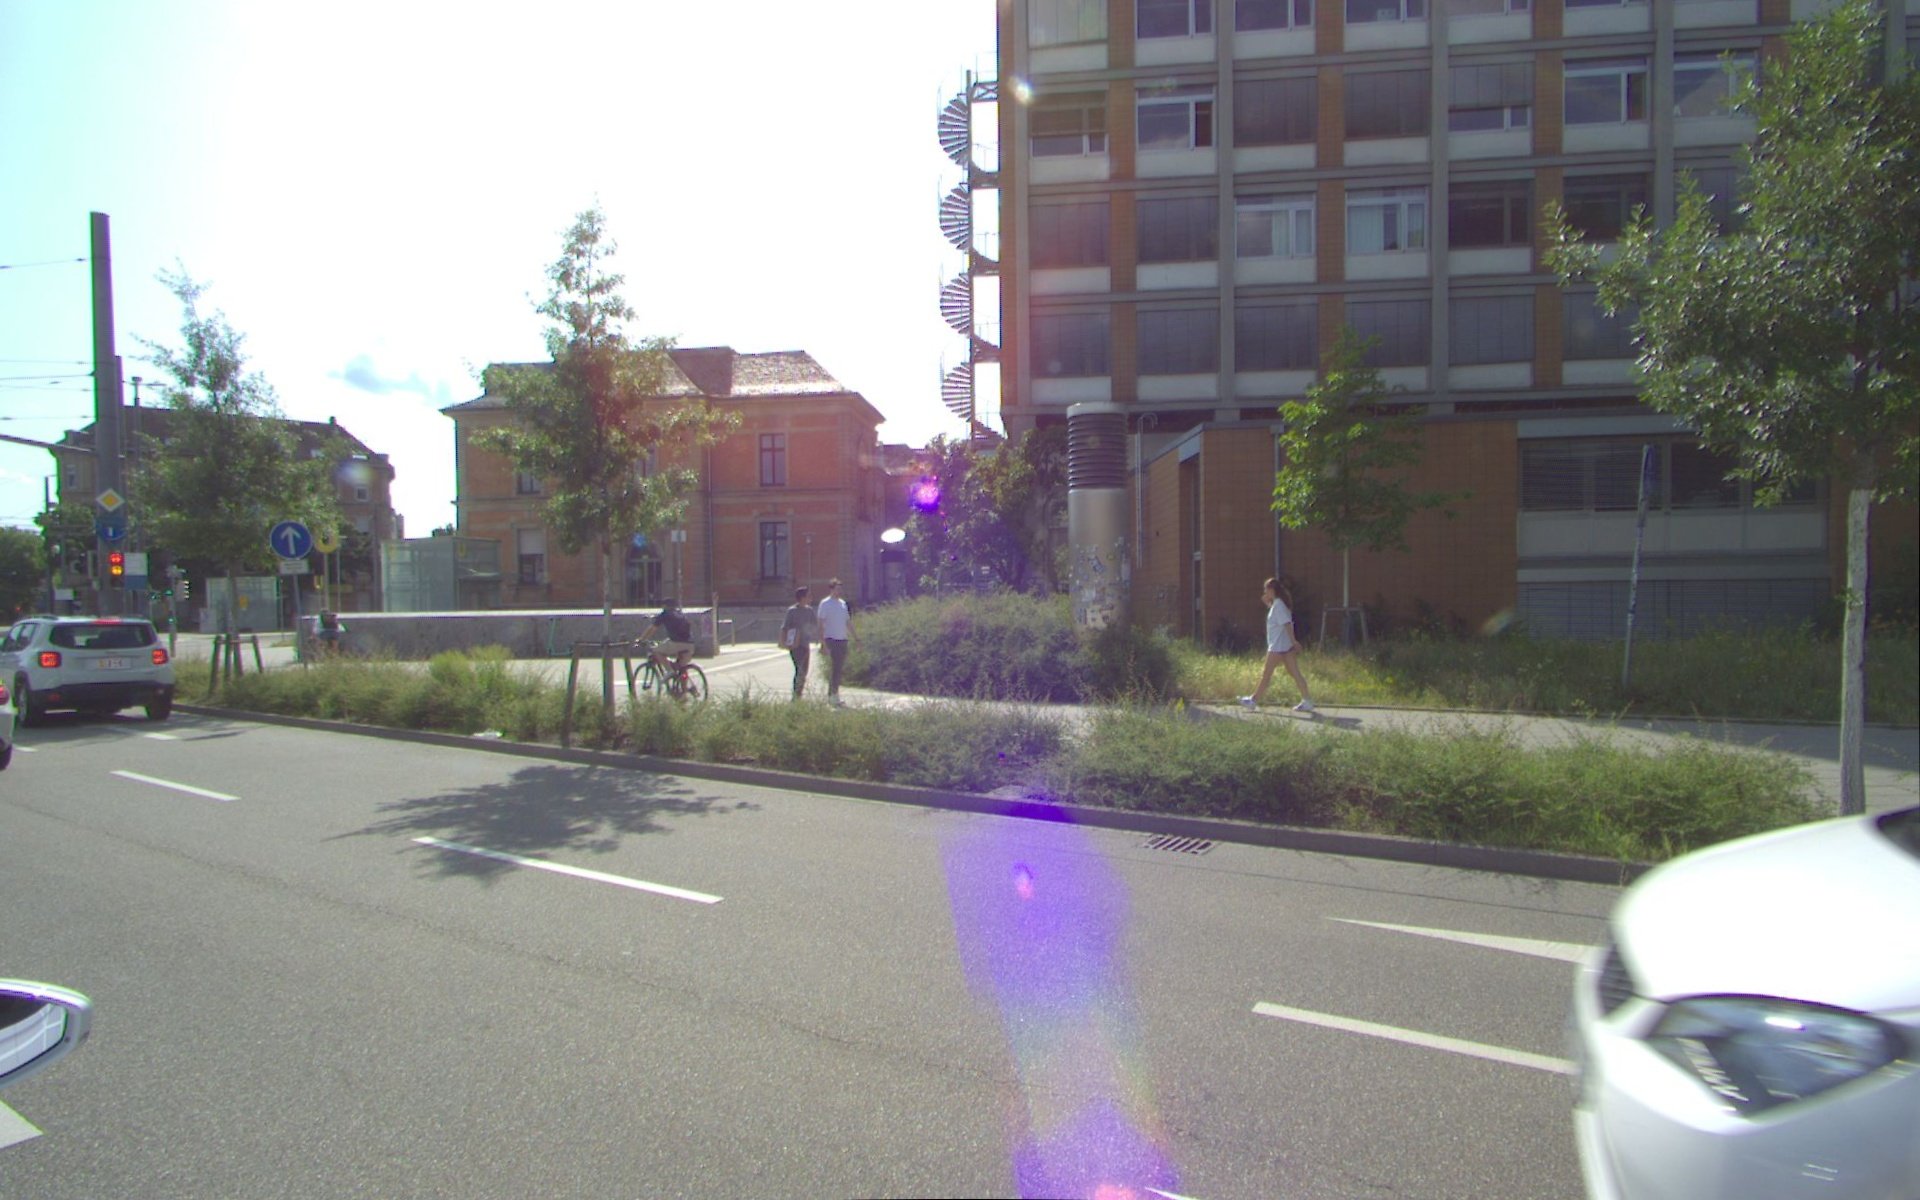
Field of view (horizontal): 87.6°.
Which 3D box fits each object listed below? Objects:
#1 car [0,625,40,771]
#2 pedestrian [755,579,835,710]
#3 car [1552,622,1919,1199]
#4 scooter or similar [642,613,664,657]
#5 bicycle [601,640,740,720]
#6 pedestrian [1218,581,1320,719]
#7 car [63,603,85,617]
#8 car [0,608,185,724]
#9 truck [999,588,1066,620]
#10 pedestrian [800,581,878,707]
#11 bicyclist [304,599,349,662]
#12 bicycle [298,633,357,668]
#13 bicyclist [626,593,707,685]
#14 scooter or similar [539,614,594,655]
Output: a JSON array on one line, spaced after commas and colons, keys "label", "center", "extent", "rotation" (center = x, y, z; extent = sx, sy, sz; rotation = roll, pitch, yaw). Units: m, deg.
[{"label": "car", "center": [-11.317, 0.994, 10.465], "extent": [3.631, 1.437, 1.844], "rotation": [-1, -1, 36]}, {"label": "pedestrian", "center": [-2.361, 0.615, 14.327], "extent": [0.735, 1.778, 0.883], "rotation": [-4, 3, -37]}, {"label": "car", "center": [3.215, 0.763, 1.453], "extent": [3.937, 1.440, 1.648], "rotation": [-1, 0, 27]}, {"label": "scooter or similar", "center": [-8.336, 0.939, 27.232], "extent": [0.457, 1.119, 1.316], "rotation": [-1, 1, -13]}, {"label": "bicycle", "center": [-4.098, 1.094, 14.135], "extent": [1.935, 0.983, 0.843], "rotation": [-1, 3, 36]}, {"label": "pedestrian", "center": [3.860, 0.607, 12.501], "extent": [1.080, 1.645, 0.612], "rotation": [-1, 3, 31]}, {"label": "car", "center": [-116.115, 1.302, 131.253], "extent": [1.820, 1.673, 3.971], "rotation": [0, -1, -37]}, {"label": "car", "center": [-14.392, 1.004, 16.403], "extent": [3.951, 1.673, 1.829], "rotation": [-2, -1, 39]}, {"label": "truck", "center": [4.921, 0.283, 67.491], "extent": [4.304, 2.039, 2.000], "rotation": [0, -2, 11]}, {"label": "pedestrian", "center": [-1.788, 0.628, 14.784], "extent": [0.735, 1.770, 0.883], "rotation": [-4, 3, -37]}, {"label": "bicyclist", "center": [-14.912, 0.714, 23.576], "extent": [0.763, 1.470, 0.607], "rotation": [0, 0, 33]}, {"label": "bicycle", "center": [-14.899, 1.173, 23.579], "extent": [1.599, 0.786, 0.583], "rotation": [-1, 0, 34]}, {"label": "bicyclist", "center": [-4.128, 0.529, 14.092], "extent": [0.911, 1.237, 0.632], "rotation": [0, 3, 36]}, {"label": "scooter or similar", "center": [-11.247, 0.987, 28.610], "extent": [1.420, 1.133, 0.465], "rotation": [0, 2, 13]}]
